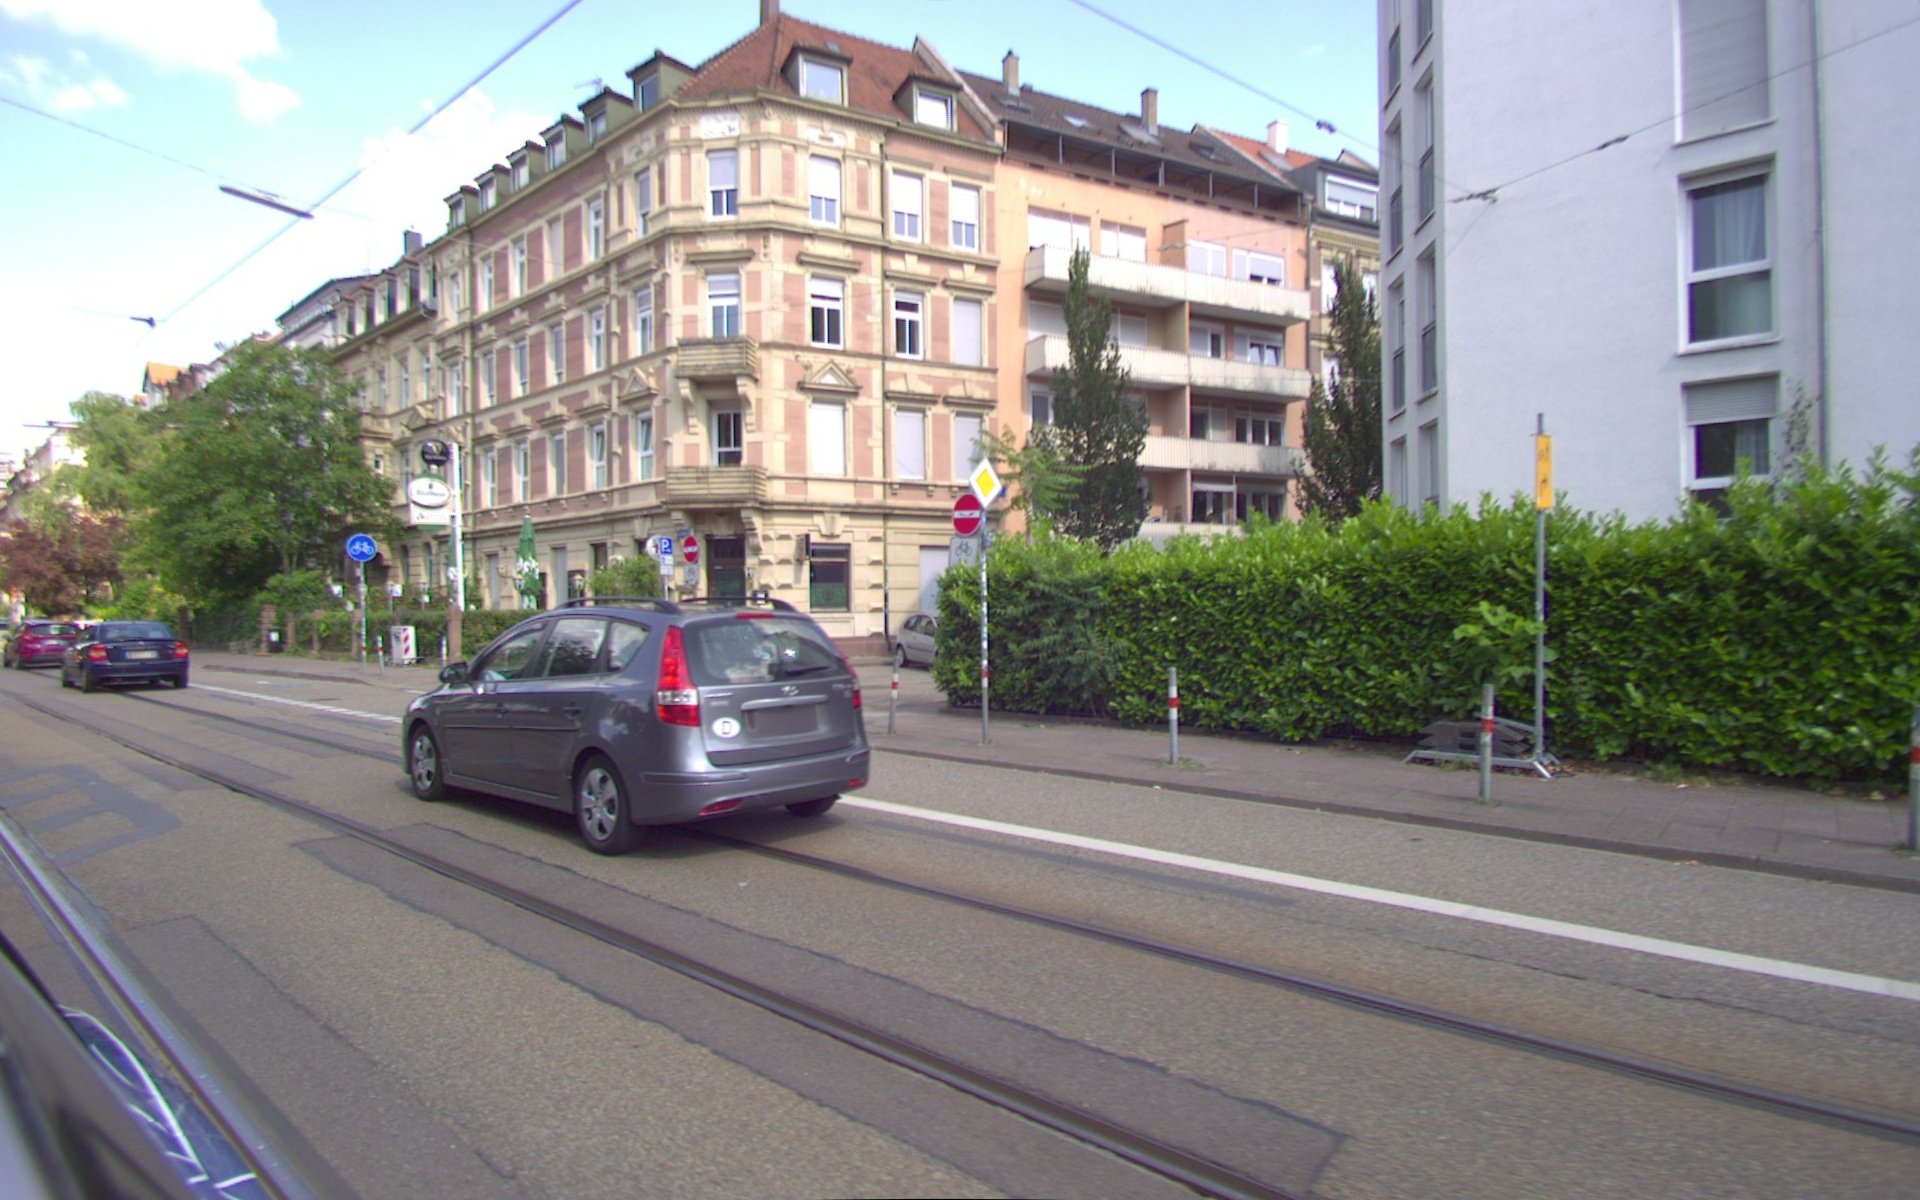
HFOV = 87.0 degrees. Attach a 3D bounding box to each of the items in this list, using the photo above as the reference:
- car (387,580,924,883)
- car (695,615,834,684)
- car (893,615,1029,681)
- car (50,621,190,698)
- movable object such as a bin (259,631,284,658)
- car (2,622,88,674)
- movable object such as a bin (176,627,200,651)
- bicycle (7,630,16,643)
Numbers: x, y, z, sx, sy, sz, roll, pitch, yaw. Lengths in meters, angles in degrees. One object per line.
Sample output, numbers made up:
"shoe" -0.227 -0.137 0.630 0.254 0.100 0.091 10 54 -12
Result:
"car" -2.387 0.720 7.262 4.275 1.552 1.709 -1 -2 41
"car" -4.611 1.056 23.255 1.860 1.375 4.978 -1 0 -26
"car" -0.053 1.140 25.497 1.860 1.411 3.781 -1 1 -27
"car" -17.428 1.168 20.933 4.127 1.418 1.611 -2 -1 41
"movable object such as a bin" -23.917 1.545 35.160 0.640 0.932 0.572 -2 -1 41
"car" -27.560 1.399 30.445 3.936 1.451 1.577 -1 -2 43
"movable object such as a bin" -36.351 1.829 47.659 0.733 1.116 0.765 -2 -1 41
"bicycle" -75.550 2.926 80.622 1.472 0.948 0.395 -5 -6 43
